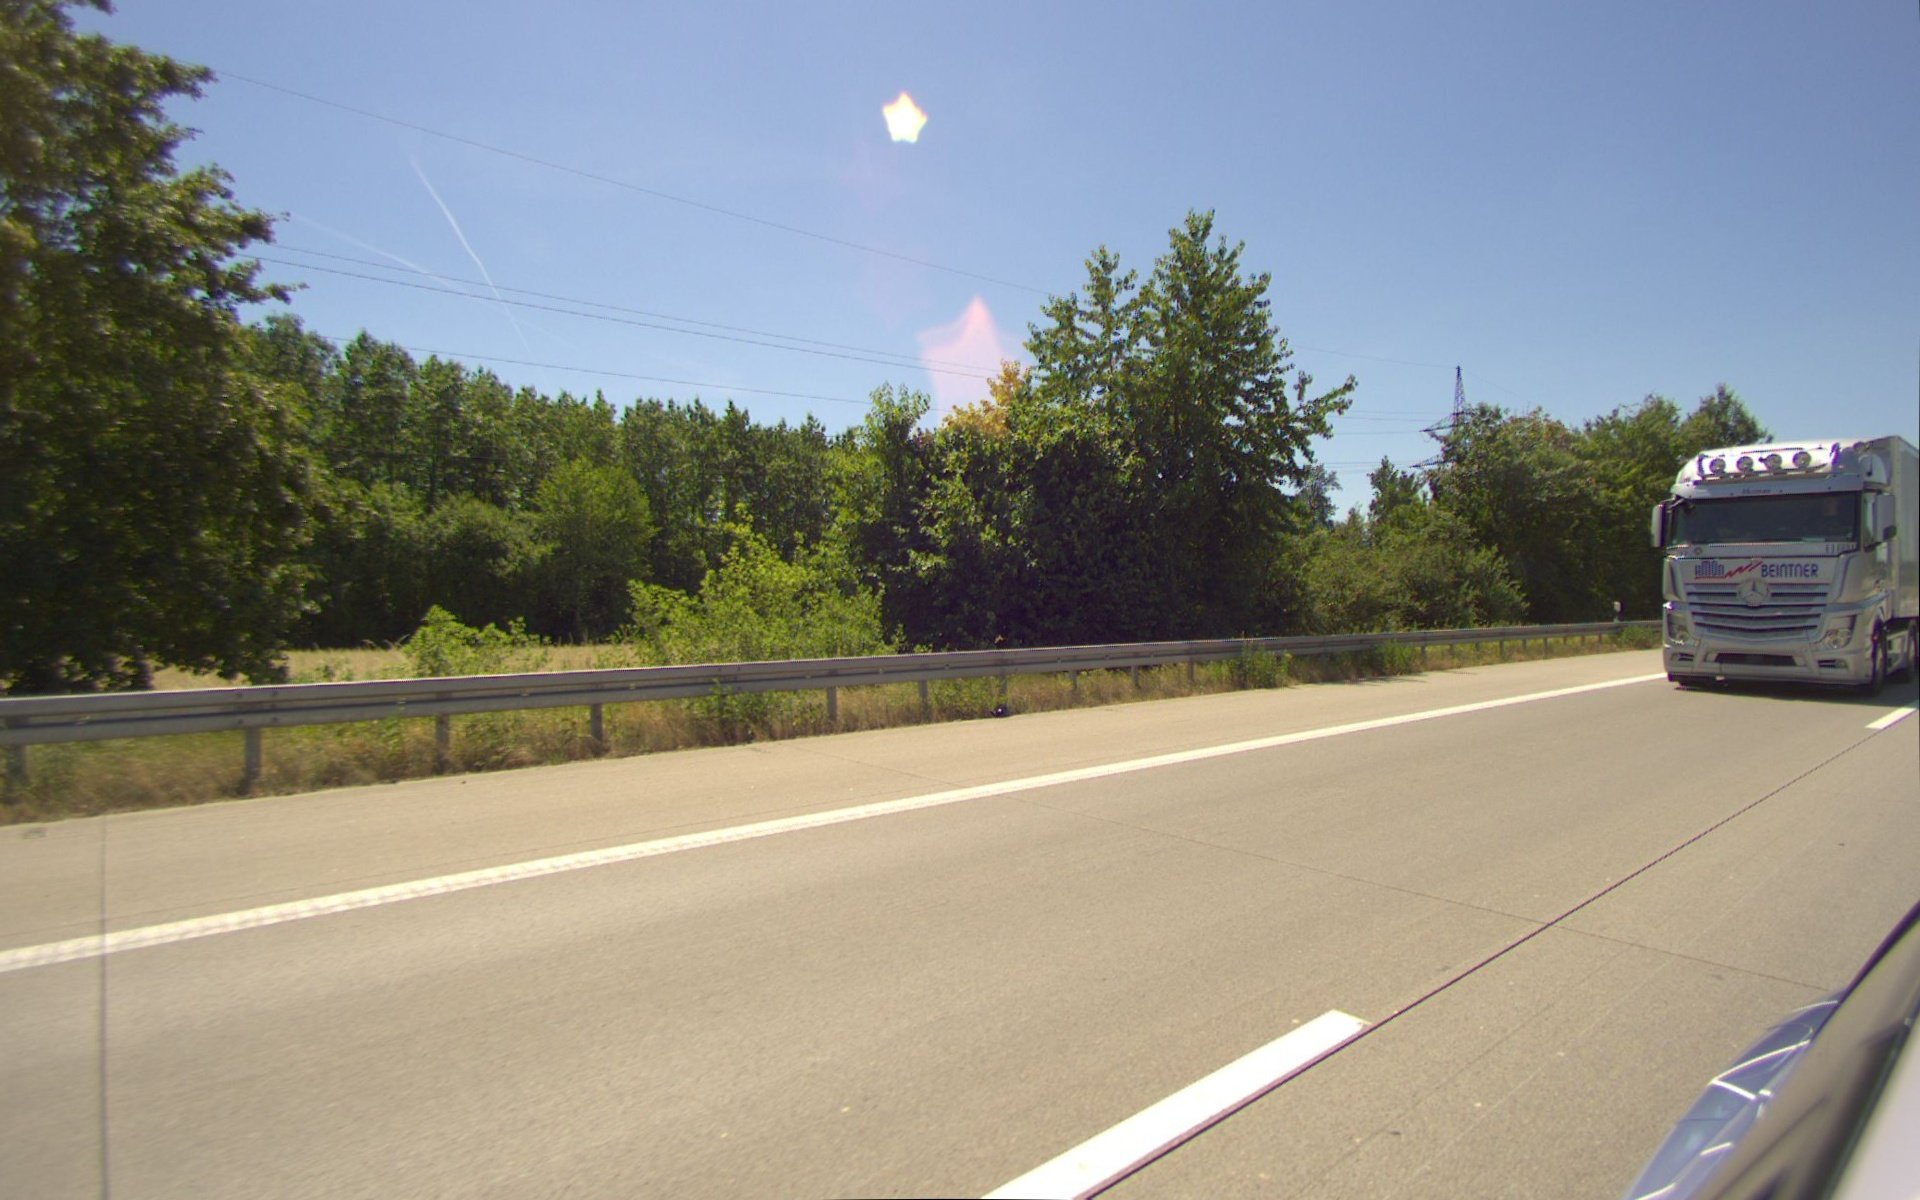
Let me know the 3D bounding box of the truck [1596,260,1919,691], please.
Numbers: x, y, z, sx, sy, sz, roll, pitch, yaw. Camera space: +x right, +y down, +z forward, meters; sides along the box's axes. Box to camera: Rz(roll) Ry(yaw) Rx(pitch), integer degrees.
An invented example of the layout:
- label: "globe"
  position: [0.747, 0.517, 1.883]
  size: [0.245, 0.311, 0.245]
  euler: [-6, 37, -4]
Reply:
- label: "truck"
  position: [18.447, -1.642, 20.868]
  size: [17.924, 5.863, 3.582]
  euler: [0, -3, -41]
